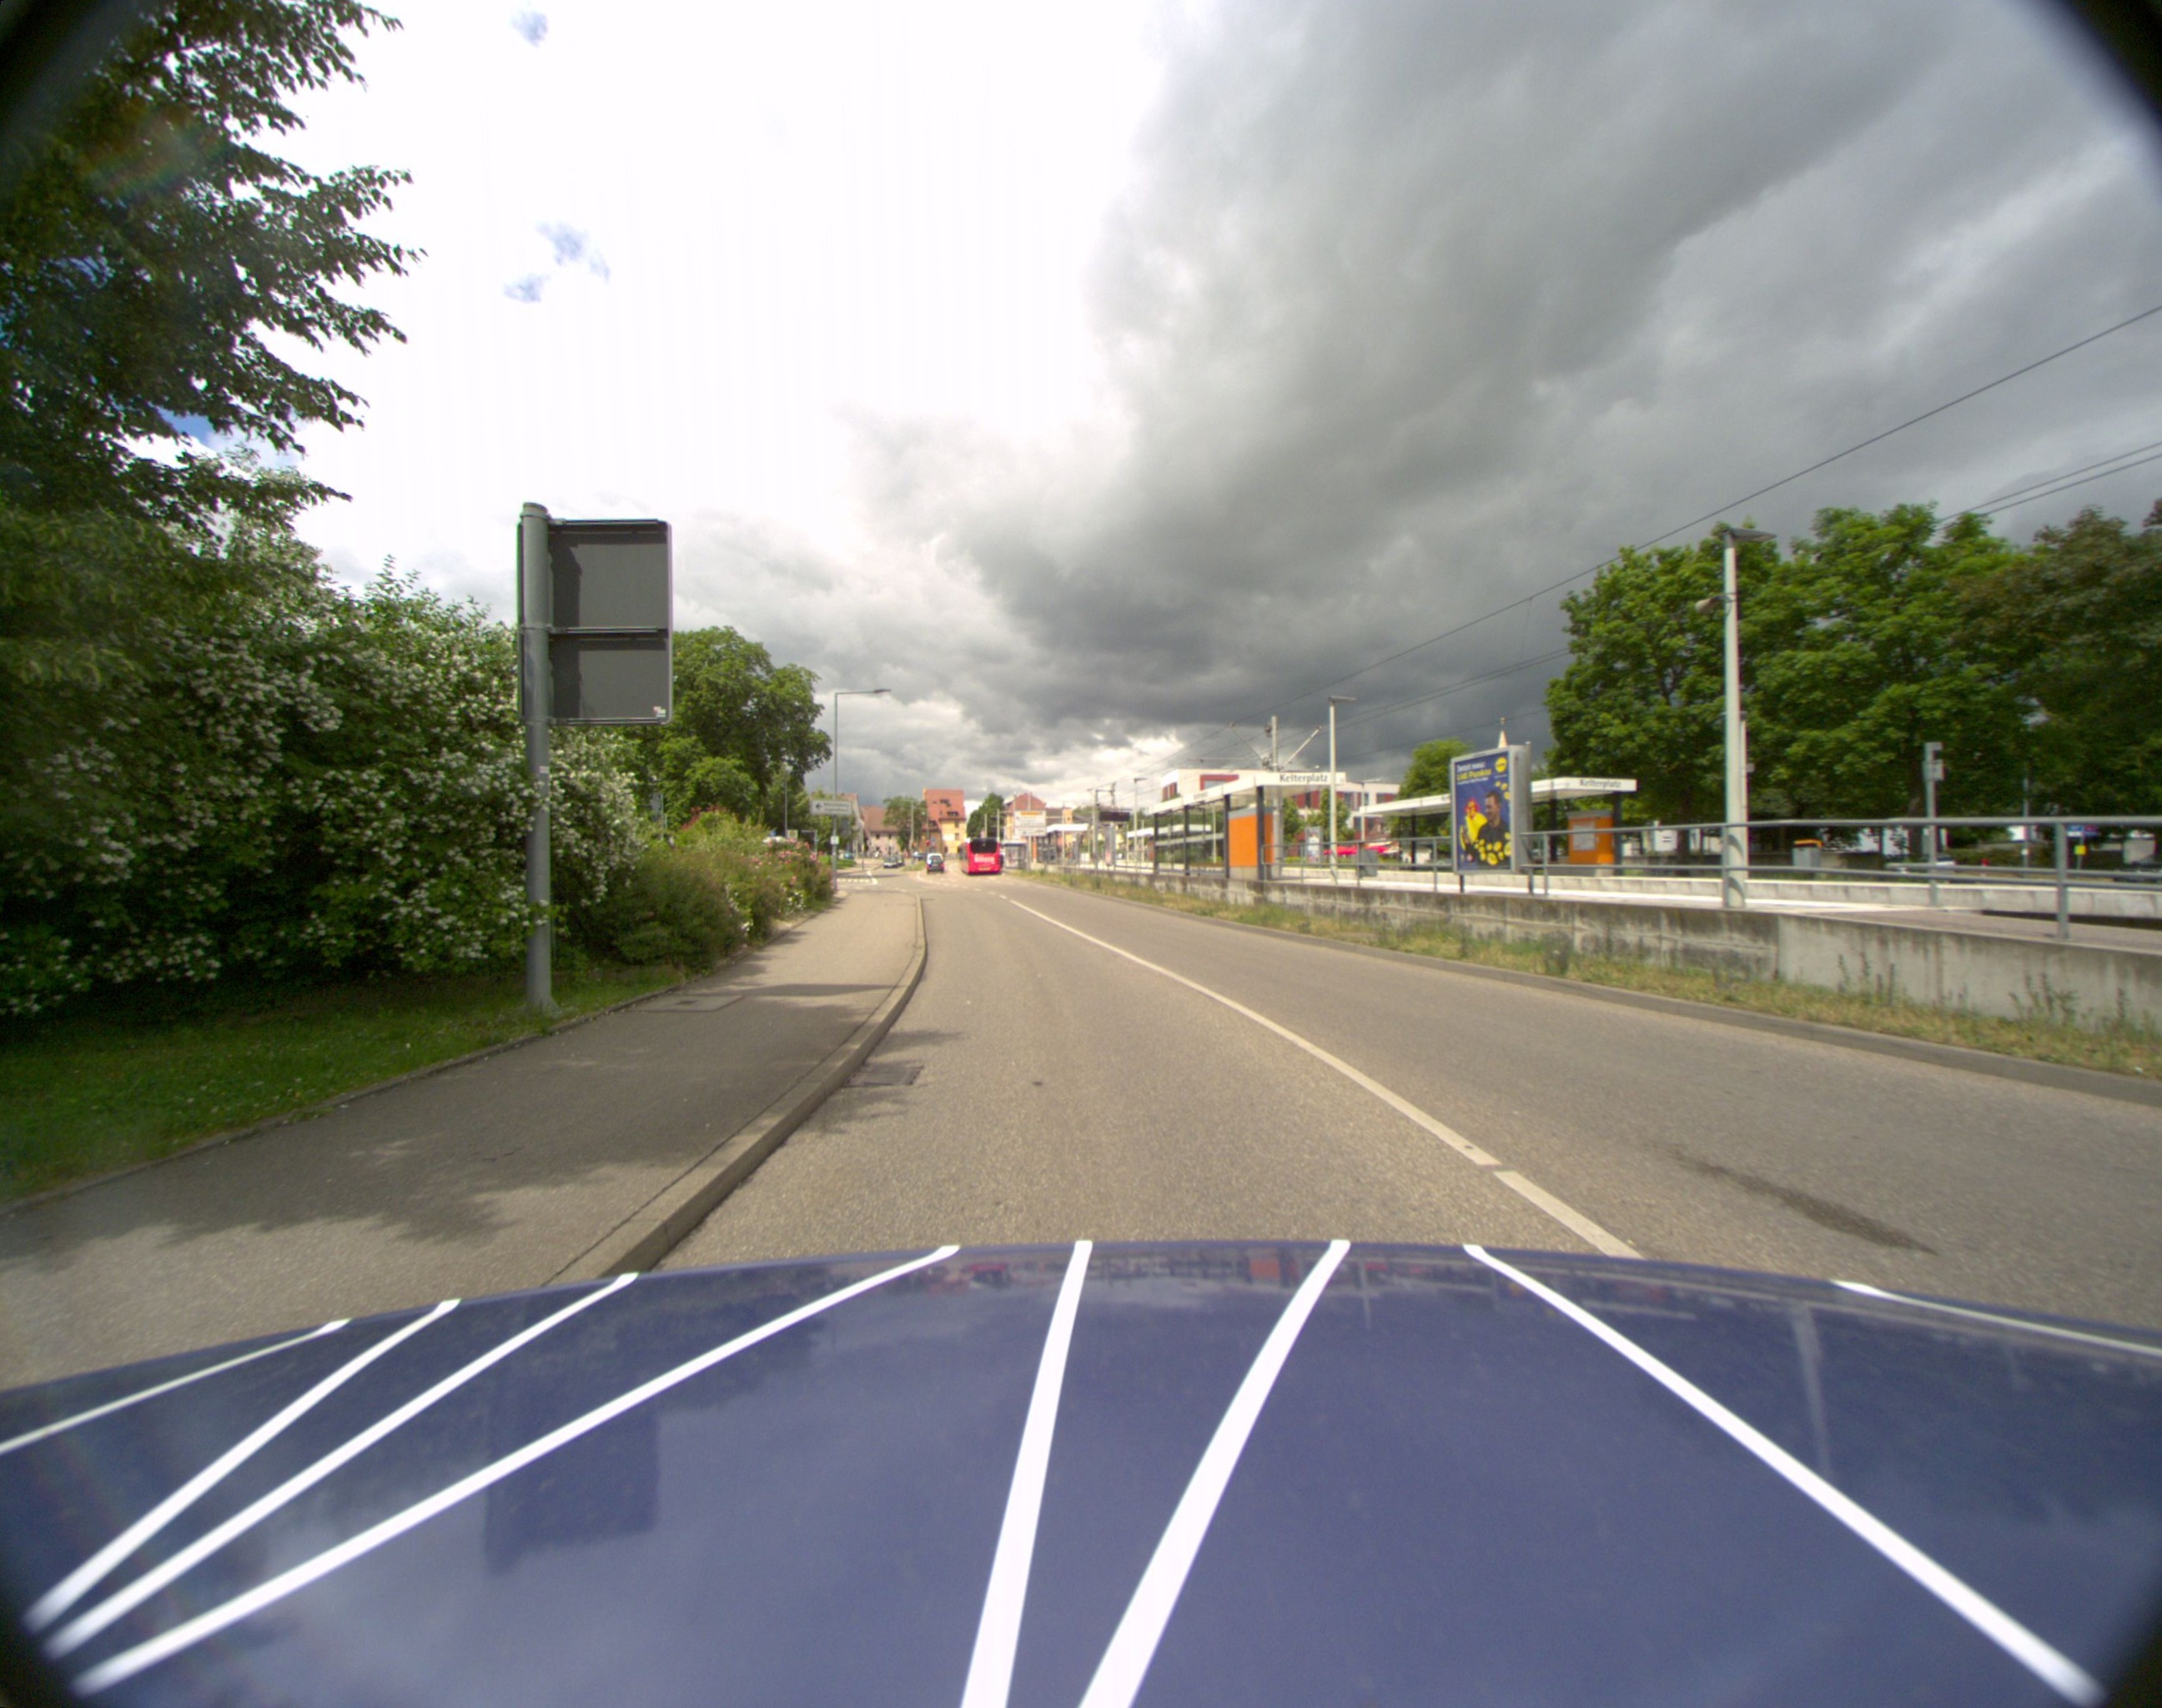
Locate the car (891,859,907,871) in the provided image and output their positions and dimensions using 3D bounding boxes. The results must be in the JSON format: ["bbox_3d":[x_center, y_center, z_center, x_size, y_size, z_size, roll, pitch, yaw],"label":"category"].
[{"bbox_3d":[-25.211,1.512,105.175,2.001,1.639,4.416,-1,-1,-12],"label":"car"}]

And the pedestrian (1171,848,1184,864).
[{"bbox_3d":[7.767,0.184,61.244,0.759,1.284,1.111,0,0,-10],"label":"pedestrian"}]

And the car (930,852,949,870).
[{"bbox_3d":[-13.104,0.635,70.388,1.535,1.542,3.729,-2,1,-9],"label":"car"}]

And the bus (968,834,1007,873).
[{"bbox_3d":[-7.953,-0.038,63.829,2.735,3.052,8.954,-1,0,-11],"label":"bus"}]

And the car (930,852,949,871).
[{"bbox_3d":[-14.530,0.764,77.836,1.768,1.652,4.504,0,-4,-13],"label":"car"}]

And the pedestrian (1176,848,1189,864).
[{"bbox_3d":[8.011,0.152,60.057,0.759,1.284,1.111,0,0,-10],"label":"pedestrian"}]

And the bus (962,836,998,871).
[{"bbox_3d":[-9.774,-0.047,72.956,2.736,3.091,9.694,0,0,-11],"label":"bus"}]

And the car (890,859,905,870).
[{"bbox_3d":[-23.757,1.381,98.555,1.884,1.420,3.996,-1,-1,-13],"label":"car"}]
